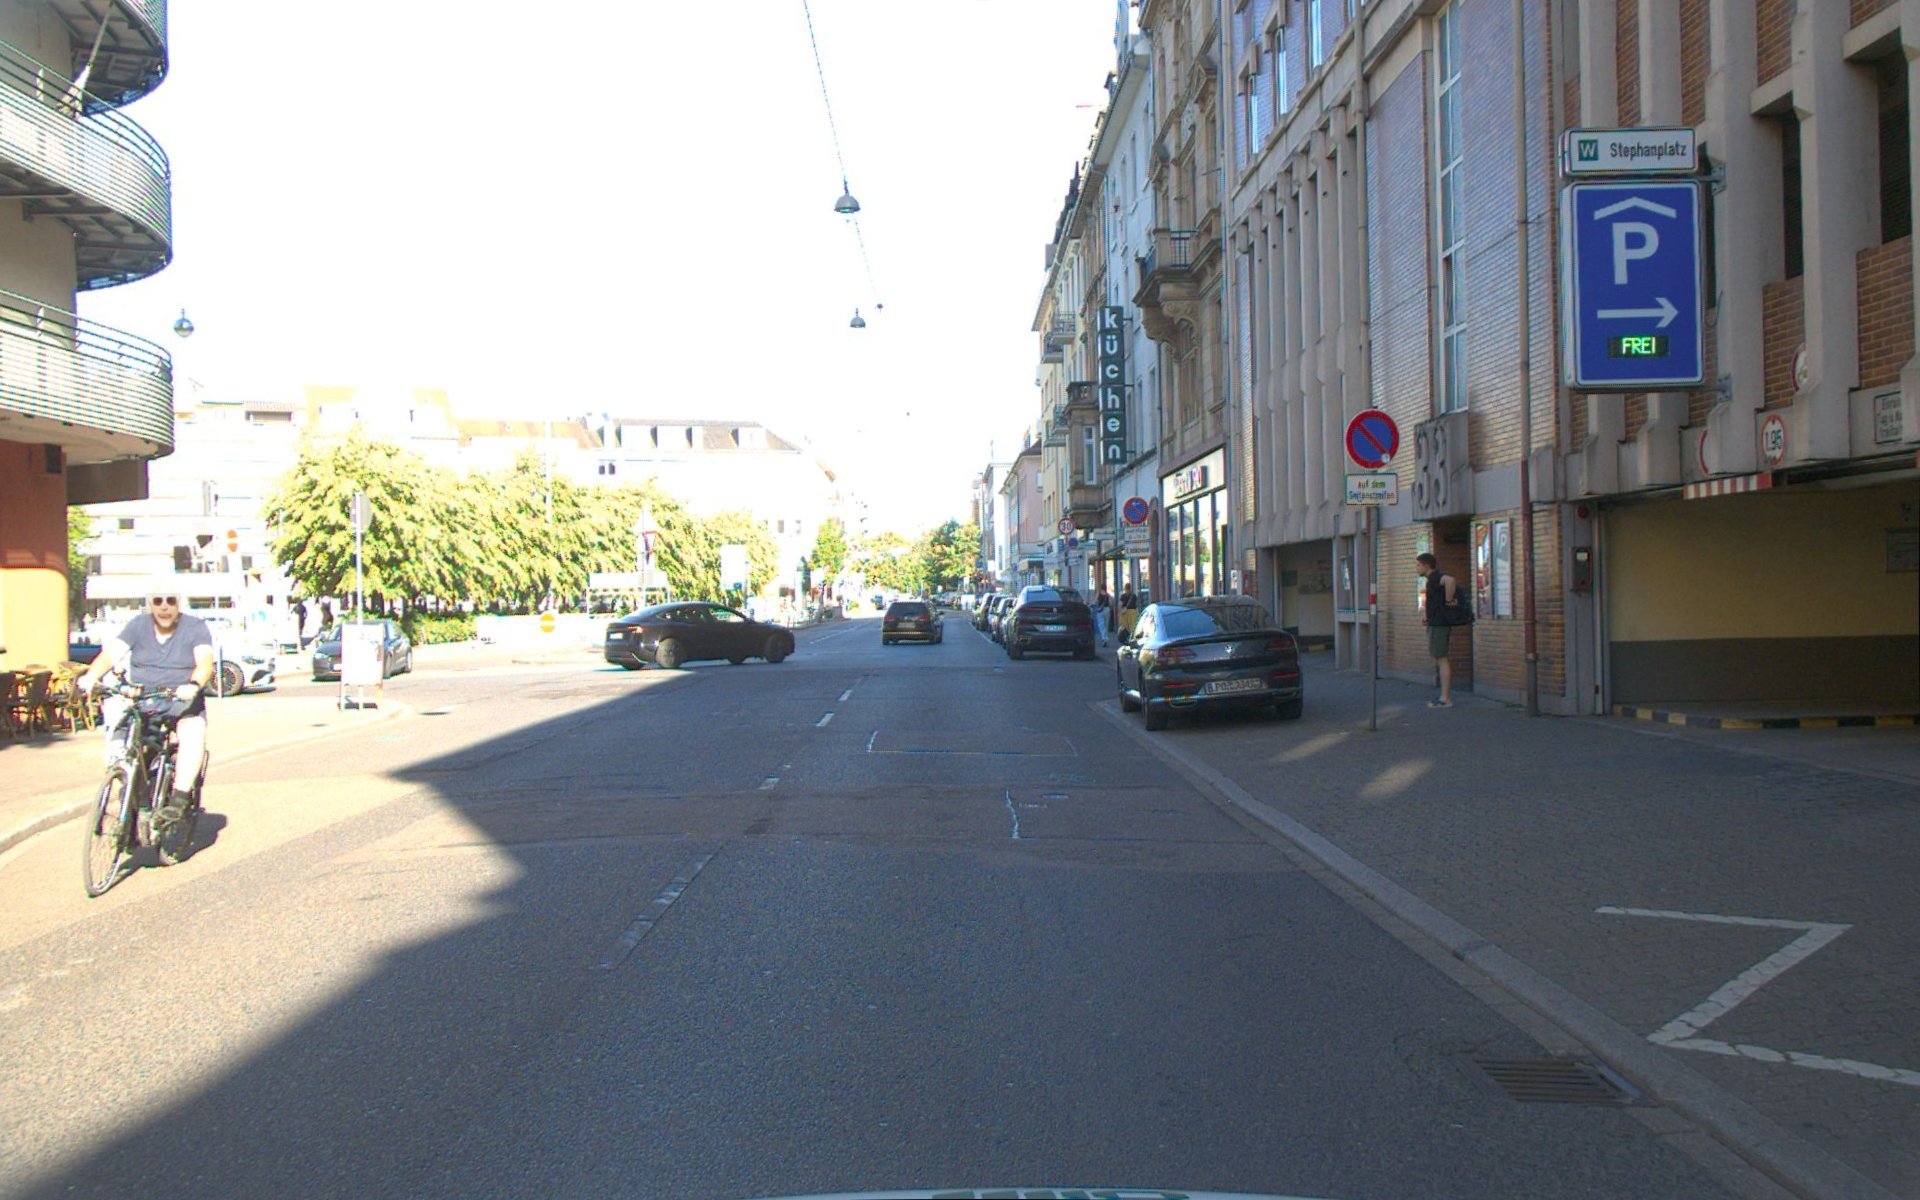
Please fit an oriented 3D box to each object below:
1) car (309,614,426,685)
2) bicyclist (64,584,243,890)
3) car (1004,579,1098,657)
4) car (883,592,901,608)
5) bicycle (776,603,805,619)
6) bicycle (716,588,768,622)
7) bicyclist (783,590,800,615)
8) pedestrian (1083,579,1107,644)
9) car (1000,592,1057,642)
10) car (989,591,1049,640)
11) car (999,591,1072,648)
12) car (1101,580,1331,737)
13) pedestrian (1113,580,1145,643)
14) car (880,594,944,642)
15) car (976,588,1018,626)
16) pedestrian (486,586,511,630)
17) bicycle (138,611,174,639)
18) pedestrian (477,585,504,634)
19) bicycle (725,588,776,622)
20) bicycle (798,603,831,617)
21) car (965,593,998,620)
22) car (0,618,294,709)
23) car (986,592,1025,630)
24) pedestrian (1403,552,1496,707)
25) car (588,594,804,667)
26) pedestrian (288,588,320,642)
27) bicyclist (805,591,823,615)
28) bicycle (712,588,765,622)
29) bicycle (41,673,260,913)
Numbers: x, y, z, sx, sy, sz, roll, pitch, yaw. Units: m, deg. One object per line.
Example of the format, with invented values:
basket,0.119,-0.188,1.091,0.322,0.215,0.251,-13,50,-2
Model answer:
car,-14.631,1.172,41.080,1.715,1.447,4.532,-2,2,-7
bicyclist,-4.741,0.764,9.787,0.684,1.682,1.032,-2,0,-13
car,2.108,0.382,39.459,1.933,1.755,4.823,0,1,-1
car,-7.819,-0.021,190.716,1.952,1.802,4.001,0,1,0
bicycle,-11.843,0.775,115.307,1.972,1.040,0.761,-1,0,-4
bicycle,-13.456,0.303,102.051,3.054,2.049,0.909,-1,0,8
bicyclist,-11.760,0.180,115.319,1.123,1.715,0.819,-1,0,-4
pedestrian,3.792,0.311,46.443,0.607,1.797,0.518,-1,0,2
car,2.080,0.494,51.300,1.576,1.474,3.830,0,1,-1
car,1.992,0.497,56.637,1.802,1.573,4.227,0,1,-1
car,2.078,0.511,46.434,1.801,1.513,4.184,0,1,-1
car,2.946,0.610,20.164,1.879,1.504,4.964,-5,0,-1
pedestrian,4.740,0.322,46.448,0.784,1.704,0.589,-3,0,2
car,-1.553,0.562,54.631,1.895,1.513,4.272,-1,0,1
car,1.652,0.340,75.284,1.682,1.664,4.082,0,-1,-2
pedestrian,-23.099,0.404,82.752,0.717,2.145,0.967,-1,0,21
bicycle,-46.060,1.441,94.815,0.945,1.529,2.685,-1,0,-6
pedestrian,-21.123,0.422,74.449,0.717,2.145,0.967,-1,0,21
bicycle,-13.175,0.314,104.093,3.054,2.049,0.909,-1,0,8
bicycle,-10.342,0.716,117.369,2.197,0.898,0.924,-1,0,3
car,1.193,0.361,92.919,1.756,1.485,3.867,0,-1,-1
car,-16.024,1.223,32.949,5.030,1.447,1.987,-3,0,-22
car,1.921,0.455,69.785,1.580,1.573,2.855,0,1,0
pedestrian,5.513,0.319,18.670,0.678,1.664,0.889,-4,0,-2
car,-5.936,0.657,37.433,4.451,1.506,1.974,-1,0,-39
pedestrian,-26.673,0.597,67.215,0.717,2.145,0.967,-1,0,21
bicyclist,-10.343,0.202,117.383,1.122,1.715,0.915,-1,0,2
bicycle,-13.558,0.308,101.094,3.054,2.049,0.909,-1,0,8
bicycle,-4.748,1.073,9.840,0.693,1.166,1.961,-2,0,-13
